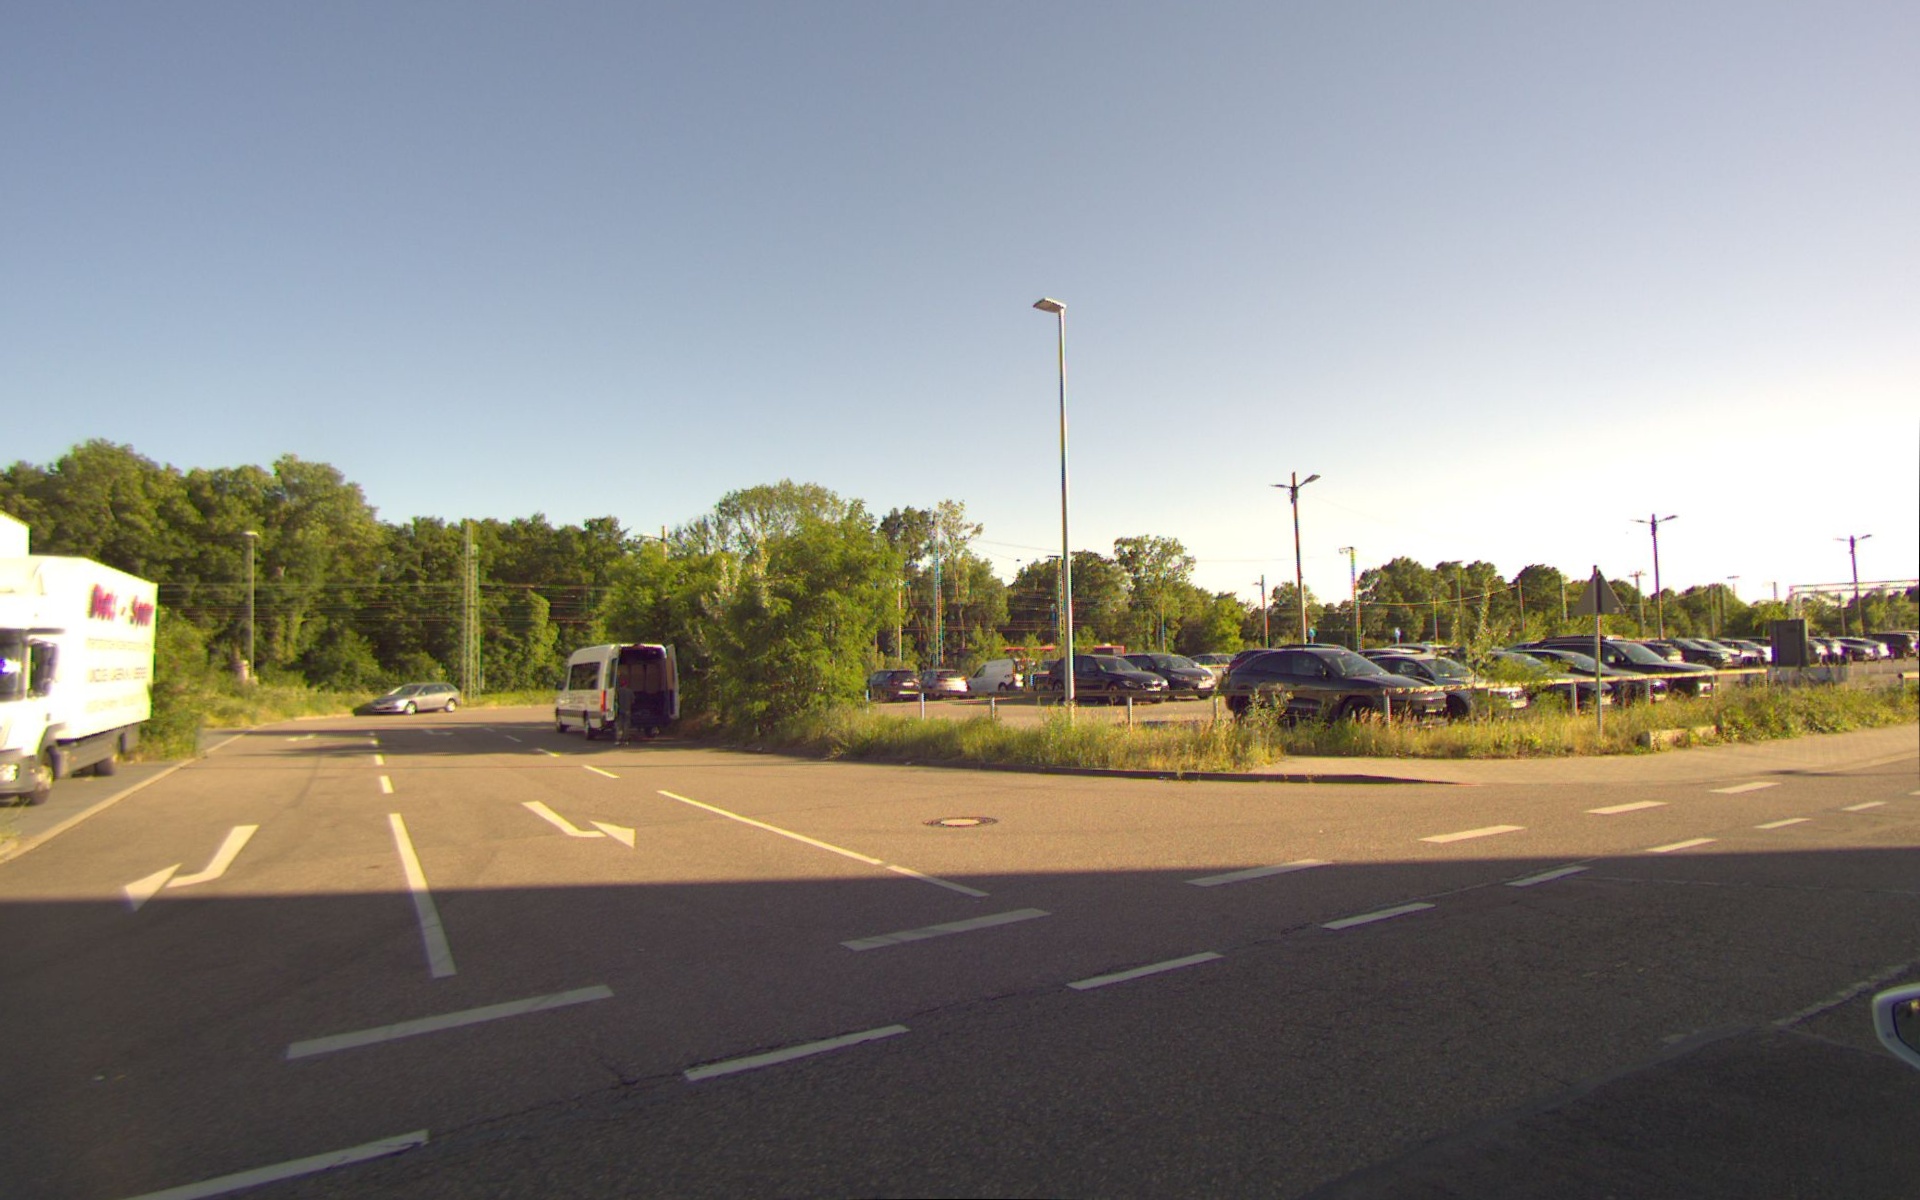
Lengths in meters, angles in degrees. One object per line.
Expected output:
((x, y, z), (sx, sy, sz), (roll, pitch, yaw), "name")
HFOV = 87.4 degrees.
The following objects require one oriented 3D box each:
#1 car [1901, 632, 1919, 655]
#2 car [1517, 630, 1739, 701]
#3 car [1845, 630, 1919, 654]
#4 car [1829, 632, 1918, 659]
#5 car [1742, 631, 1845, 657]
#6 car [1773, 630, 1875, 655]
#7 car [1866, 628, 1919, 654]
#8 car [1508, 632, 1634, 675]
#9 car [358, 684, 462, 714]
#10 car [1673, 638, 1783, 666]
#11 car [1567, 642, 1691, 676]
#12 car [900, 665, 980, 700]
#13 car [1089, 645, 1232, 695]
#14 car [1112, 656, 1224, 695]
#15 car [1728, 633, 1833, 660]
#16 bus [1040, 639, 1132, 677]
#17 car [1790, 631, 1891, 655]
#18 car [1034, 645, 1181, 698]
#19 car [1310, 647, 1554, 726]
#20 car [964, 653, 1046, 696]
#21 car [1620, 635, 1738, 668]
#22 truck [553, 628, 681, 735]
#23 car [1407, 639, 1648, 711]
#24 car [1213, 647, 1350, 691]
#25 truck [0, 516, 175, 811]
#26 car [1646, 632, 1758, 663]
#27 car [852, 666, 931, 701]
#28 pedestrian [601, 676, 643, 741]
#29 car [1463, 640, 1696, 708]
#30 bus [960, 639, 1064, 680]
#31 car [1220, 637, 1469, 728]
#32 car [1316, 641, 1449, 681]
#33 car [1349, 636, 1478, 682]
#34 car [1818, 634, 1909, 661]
((72.076, 3.132, 73.498), (1.857, 1.639, 4.301), (0, -3, -31), "car")
((17.428, 1.731, 26.459), (2.024, 1.691, 4.411), (1, -4, -29), "car")
((62.513, 2.831, 67.744), (1.857, 1.539, 3.864), (0, -3, -31), "car")
((59.074, 2.946, 65.002), (1.857, 1.624, 3.864), (0, -3, -31), "car")
((49.722, 2.668, 60.005), (1.857, 1.438, 4.301), (0, -3, -31), "car")
((52.174, 2.583, 60.710), (1.857, 1.394, 4.301), (0, -3, -31), "car")
((65.263, 2.793, 68.633), (2.031, 1.763, 4.565), (0, -3, -27), "car")
((27.611, 2.427, 45.557), (1.835, 1.828, 4.557), (0, -3, -30), "car")
((-26.322, 4.712, 48.216), (1.670, 1.230, 4.425), (-3, -4, 18), "car")
((41.020, 2.803, 53.759), (1.856, 1.411, 4.303), (0, -3, -30), "car")
((32.039, 2.846, 48.264), (1.965, 1.500, 4.560), (0, -3, -27), "car")
((-0.978, 3.829, 46.866), (1.842, 1.484, 3.983), (1, -4, -34), "car")
((6.393, 2.257, 32.521), (2.027, 1.484, 4.377), (1, -4, -34), "car")
((8.179, 2.995, 39.825), (2.027, 1.415, 4.136), (1, -4, -34), "car")
((47.473, 2.705, 58.216), (1.857, 1.438, 4.301), (0, -3, -31), "car")
((8.323, 3.821, 66.246), (5.522, 2.378, 2.529), (1, -4, -30), "bus")
((54.488, 2.666, 62.226), (1.857, 1.394, 4.301), (0, -3, -31), "car")
((4.415, 2.178, 30.725), (2.027, 1.484, 4.377), (1, -4, -34), "car")
((10.068, 1.834, 21.804), (2.024, 1.480, 4.411), (1, -4, -29), "car")
((2.092, 3.536, 47.694), (1.842, 1.944, 3.983), (1, -4, -34), "car")
((36.692, 2.640, 51.377), (1.835, 1.605, 4.557), (0, -3, -30), "car")
((-10.402, 2.421, 30.062), (2.290, 2.843, 6.463), (1, -5, -32), "truck")
((12.949, 1.717, 23.221), (2.024, 1.480, 4.411), (1, -4, -29), "car")
((11.090, 2.387, 34.885), (2.027, 1.415, 4.136), (1, -4, -34), "car")
((-15.310, 1.022, 16.296), (2.744, 3.661, 10.049), (2, -4, -31), "truck")
((38.736, 2.499, 52.545), (1.856, 1.543, 4.303), (0, -3, -30), "car")
((-3.165, 3.758, 45.571), (1.842, 1.484, 3.983), (1, -4, -34), "car")
((-9.046, 2.878, 26.872), (0.904, 1.660, 0.924), (1, -4, -30), "pedestrian")
((15.058, 1.797, 24.686), (2.024, 1.480, 4.411), (1, -4, -29), "car")
((3.304, 3.757, 63.340), (6.130, 2.378, 2.529), (1, -4, -30), "bus")
((7.603, 1.636, 20.333), (2.024, 1.601, 4.411), (1, -4, -29), "car")
((15.757, 2.301, 37.648), (2.027, 1.415, 4.136), (1, -4, -34), "car")
((17.562, 2.324, 39.087), (1.945, 1.683, 4.138), (1, -4, -33), "car")
((56.991, 3.024, 63.429), (1.857, 1.624, 3.864), (0, -3, -31), "car")
